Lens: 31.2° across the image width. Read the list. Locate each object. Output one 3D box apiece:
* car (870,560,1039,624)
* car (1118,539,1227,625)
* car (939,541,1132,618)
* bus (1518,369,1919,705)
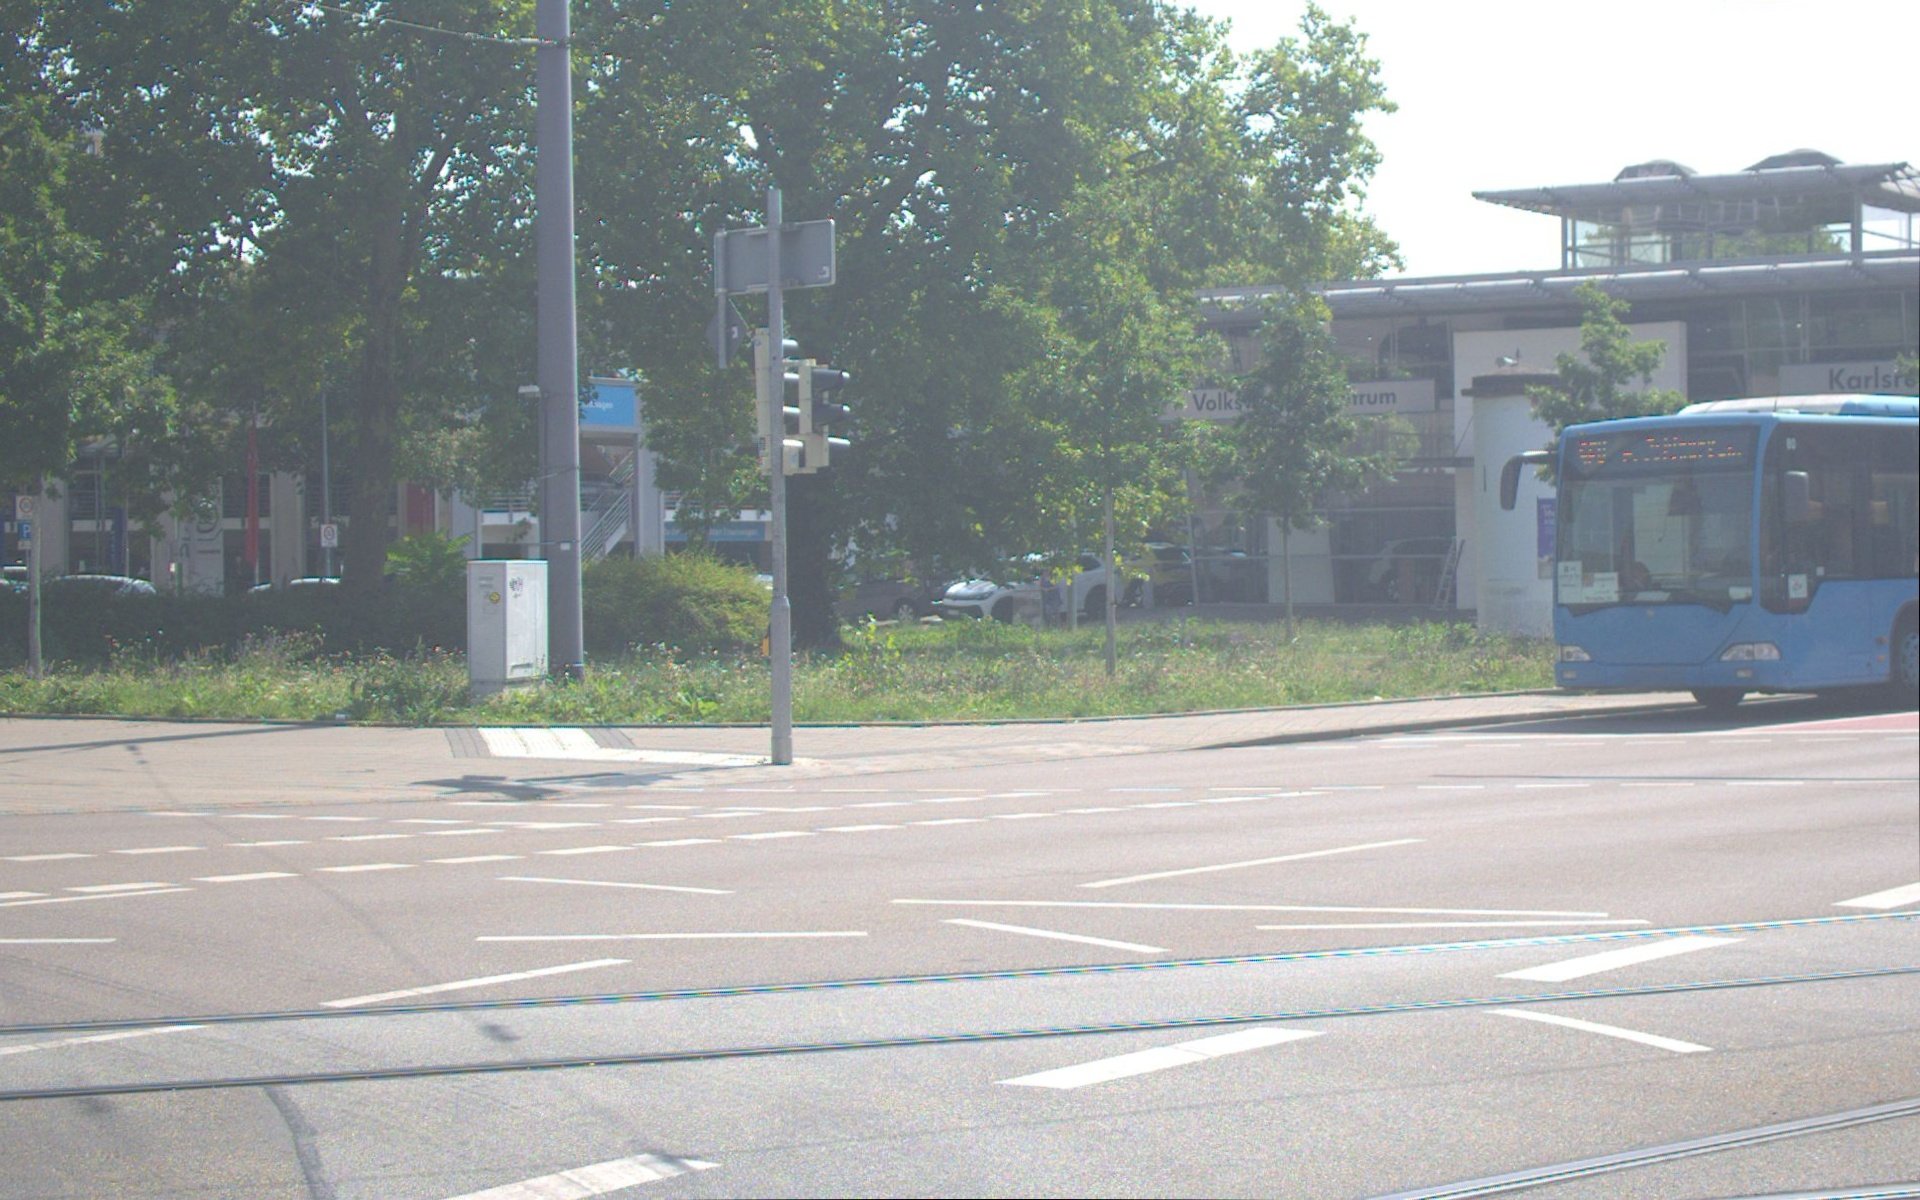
[{"bbox_3d":[-0.111,-0.210,85.039,1.998,1.503,3.990,0,1,43],"label":"car"},{"bbox_3d":[5.383,-0.488,86.315,2.327,2.007,6.807,1,1,7],"label":"car"},{"bbox_3d":[1.792,-0.497,81.193,4.245,1.747,1.716,-1,1,-27],"label":"car"},{"bbox_3d":[10.707,-0.665,36.386,12.049,3.054,2.733,-1,1,-44],"label":"bus"}]
